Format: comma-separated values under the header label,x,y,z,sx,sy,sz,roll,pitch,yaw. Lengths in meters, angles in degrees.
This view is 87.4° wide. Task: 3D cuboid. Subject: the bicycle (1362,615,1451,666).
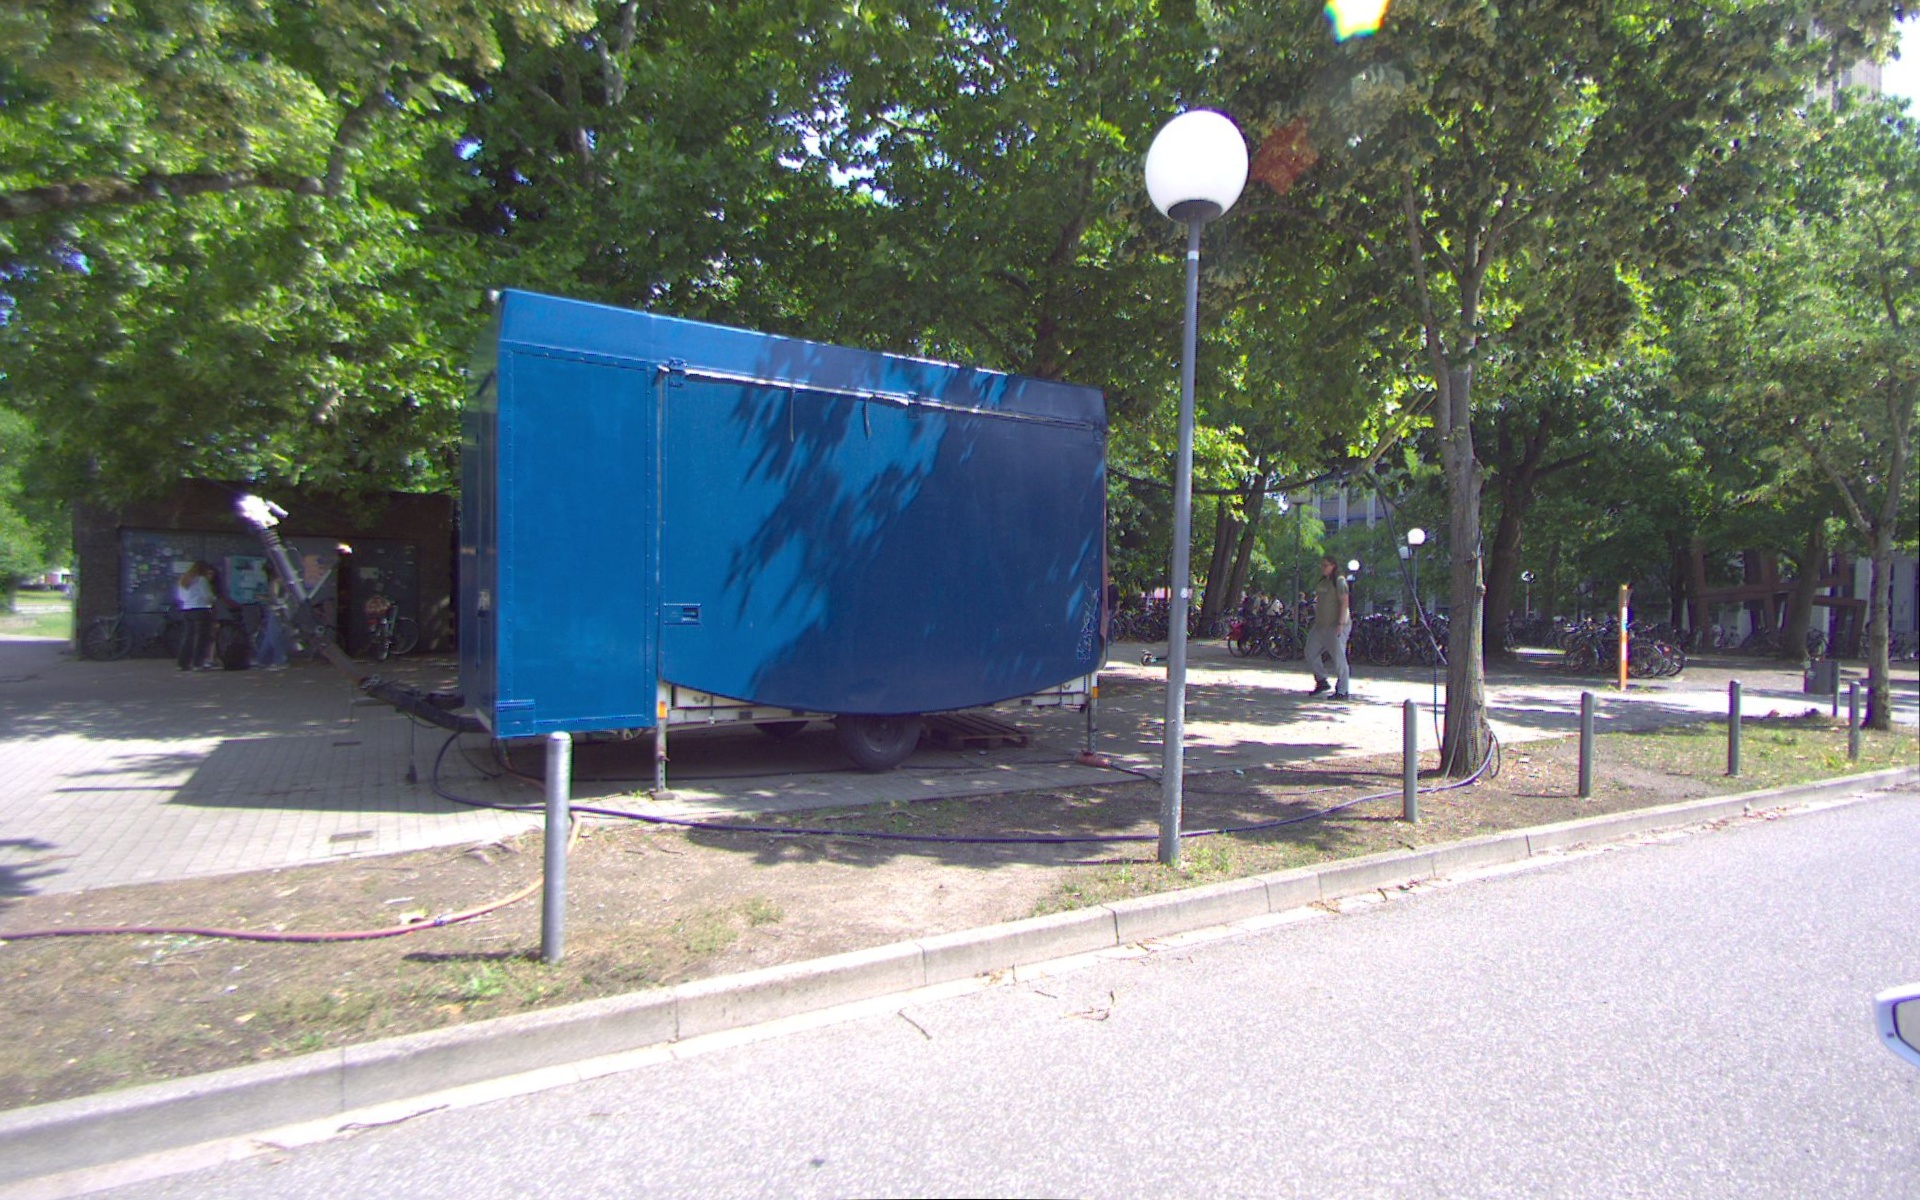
label,x,y,z,sx,sy,sz,roll,pitch,yaw
bicycle,10.654,0.949,23.994,1.832,1.104,0.545,2,1,39

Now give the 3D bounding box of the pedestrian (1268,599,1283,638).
label,x,y,z,sx,sy,sz,roll,pitch,yaw
pedestrian,13.354,0.791,42.506,0.453,1.636,0.350,2,1,-9

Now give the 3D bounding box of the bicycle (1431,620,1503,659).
label,x,y,z,sx,sy,sz,roll,pitch,yaw
bicycle,16.589,1.293,32.902,2.021,1.148,0.639,2,2,24

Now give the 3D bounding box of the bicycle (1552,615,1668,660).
label,x,y,z,sx,sy,sz,roll,pitch,yaw
bicycle,20.195,1.146,31.271,2.850,1.237,0.883,2,1,17

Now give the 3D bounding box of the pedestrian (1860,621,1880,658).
label,x,y,z,sx,sy,sz,roll,pitch,yaw
pedestrian,41.880,1.804,46.210,0.626,1.683,0.691,2,1,42

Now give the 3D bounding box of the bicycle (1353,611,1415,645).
label,x,y,z,sx,sy,sz,roll,pitch,yaw
bicycle,14.887,0.976,35.292,1.932,1.104,0.546,2,1,31

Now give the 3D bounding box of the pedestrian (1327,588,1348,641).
label,x,y,z,sx,sy,sz,roll,pitch,yaw
pedestrian,14.216,0.544,37.842,0.635,1.960,0.696,2,1,24

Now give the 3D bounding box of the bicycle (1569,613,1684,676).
label,x,y,z,sx,sy,sz,roll,pitch,yaw
bicycle,14.918,0.974,22.511,2.030,1.251,0.804,3,1,42

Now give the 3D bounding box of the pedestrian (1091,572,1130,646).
label,x,y,z,sx,sy,sz,roll,pitch,yaw
pedestrian,3.867,0.228,25.859,0.796,1.873,0.527,1,1,-31

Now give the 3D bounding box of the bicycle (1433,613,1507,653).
label,x,y,z,sx,sy,sz,roll,pitch,yaw
bicycle,16.141,1.036,31.832,2.021,1.173,0.639,2,1,24

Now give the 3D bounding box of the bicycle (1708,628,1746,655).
label,x,y,z,sx,sy,sz,roll,pitch,yaw
bicycle,32.304,1.748,42.299,1.950,1.101,0.549,2,2,-31

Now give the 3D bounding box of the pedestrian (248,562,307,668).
label,x,y,z,sx,sy,sz,roll,pitch,yaw
pedestrian,-11.146,0.233,16.413,0.665,1.673,0.503,2,2,20

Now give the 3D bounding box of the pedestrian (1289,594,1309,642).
label,x,y,z,sx,sy,sz,roll,pitch,yaw
pedestrian,12.193,0.627,36.137,0.545,1.693,0.703,2,1,24

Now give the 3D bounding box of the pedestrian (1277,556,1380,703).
label,x,y,z,sx,sy,sz,roll,pitch,yaw
pedestrian,5.167,0.392,14.118,0.879,1.981,0.916,2,2,-21

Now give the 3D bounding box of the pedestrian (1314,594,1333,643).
label,x,y,z,sx,sy,sz,roll,pitch,yaw
pedestrian,12.982,0.656,35.889,0.545,1.693,0.693,2,1,24

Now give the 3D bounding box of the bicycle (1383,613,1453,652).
label,x,y,z,sx,sy,sz,roll,pitch,yaw
bicycle,14.285,1.002,31.341,1.932,1.104,0.546,2,1,31

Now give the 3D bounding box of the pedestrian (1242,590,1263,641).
label,x,y,z,sx,sy,sz,roll,pitch,yaw
pedestrian,9.989,0.527,34.304,0.567,1.693,0.630,2,1,24

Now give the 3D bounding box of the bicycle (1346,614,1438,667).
label,x,y,z,sx,sy,sz,roll,pitch,yaw
bicycle,9.935,0.918,23.128,1.832,1.104,0.545,2,1,39

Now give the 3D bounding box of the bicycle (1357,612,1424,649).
label,x,y,z,sx,sy,sz,roll,pitch,yaw
bicycle,14.213,0.987,33.189,1.932,1.104,0.546,2,1,31

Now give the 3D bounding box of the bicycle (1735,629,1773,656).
label,x,y,z,sx,sy,sz,roll,pitch,yaw
bicycle,32.851,1.757,41.543,1.950,1.101,0.549,2,2,-31

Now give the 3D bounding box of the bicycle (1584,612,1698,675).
label,x,y,z,sx,sy,sz,roll,pitch,yaw
bicycle,15.614,0.974,23.053,2.030,1.251,0.804,4,2,42

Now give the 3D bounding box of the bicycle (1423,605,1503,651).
label,x,y,z,sx,sy,sz,roll,pitch,yaw
bicycle,14.559,0.798,29.121,2.021,1.251,0.639,2,1,24

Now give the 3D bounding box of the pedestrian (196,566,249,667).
label,x,y,z,sx,sy,sz,roll,pitch,yaw
pedestrian,-12.014,0.260,16.367,0.594,1.615,0.413,2,2,17

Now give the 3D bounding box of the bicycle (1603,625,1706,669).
label,x,y,z,sx,sy,sz,roll,pitch,yaw
bicycle,18.065,1.203,26.195,2.115,1.022,0.677,2,1,29

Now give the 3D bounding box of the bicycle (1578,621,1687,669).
label,x,y,z,sx,sy,sz,roll,pitch,yaw
bicycle,16.263,1.073,24.347,2.115,1.022,0.677,2,1,30

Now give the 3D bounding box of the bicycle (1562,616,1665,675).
label,x,y,z,sx,sy,sz,roll,pitch,yaw
bicycle,13.856,0.950,21.338,1.753,1.147,0.456,2,1,42

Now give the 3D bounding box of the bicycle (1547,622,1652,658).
label,x,y,z,sx,sy,sz,roll,pitch,yaw
bicycle,20.510,1.266,32.295,2.679,1.016,0.883,2,1,17

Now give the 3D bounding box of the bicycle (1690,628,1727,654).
label,x,y,z,sx,sy,sz,roll,pitch,yaw
bicycle,32.097,1.758,43.088,1.950,1.101,0.549,2,2,-31

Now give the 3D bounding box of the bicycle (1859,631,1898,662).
label,x,y,z,sx,sy,sz,roll,pitch,yaw
bicycle,34.855,1.770,38.108,1.950,1.101,0.549,2,2,-31

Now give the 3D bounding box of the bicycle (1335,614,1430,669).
label,x,y,z,sx,sy,sz,roll,pitch,yaw
bicycle,9.303,0.896,22.160,1.832,1.104,0.545,2,1,39

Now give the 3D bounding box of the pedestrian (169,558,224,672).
label,x,y,z,sx,sy,sz,roll,pitch,yaw
pedestrian,-11.897,0.222,15.651,0.520,1.734,0.448,2,2,15

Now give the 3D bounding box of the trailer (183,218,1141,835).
label,x,y,z,sx,sy,sz,roll,pitch,yaw
trailer,-1.881,-0.322,7.778,6.195,3.067,2.682,1,1,-32

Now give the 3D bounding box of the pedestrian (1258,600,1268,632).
label,x,y,z,sx,sy,sz,roll,pitch,yaw
pedestrian,16.640,0.879,55.169,0.405,1.736,0.544,2,1,28

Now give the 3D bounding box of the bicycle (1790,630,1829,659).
label,x,y,z,sx,sy,sz,roll,pitch,yaw
bicycle,33.698,1.756,39.855,1.950,1.101,0.549,2,2,-31

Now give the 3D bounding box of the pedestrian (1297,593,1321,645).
label,x,y,z,sx,sy,sz,roll,pitch,yaw
pedestrian,11.618,0.610,33.437,0.620,1.693,0.730,2,1,24

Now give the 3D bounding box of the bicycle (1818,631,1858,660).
label,x,y,z,sx,sy,sz,roll,pitch,yaw
bicycle,34.308,1.771,39.244,1.950,1.101,0.549,2,2,-31

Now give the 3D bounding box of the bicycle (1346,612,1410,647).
label,x,y,z,sx,sy,sz,roll,pitch,yaw
bicycle,14.249,0.989,34.257,1.932,1.104,0.546,2,1,31

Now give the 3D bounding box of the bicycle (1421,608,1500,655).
label,x,y,z,sx,sy,sz,roll,pitch,yaw
bicycle,14.804,0.919,29.751,2.021,1.251,0.639,3,2,24

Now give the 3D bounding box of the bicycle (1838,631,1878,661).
label,x,y,z,sx,sy,sz,roll,pitch,yaw
bicycle,34.528,1.766,38.617,1.950,1.101,0.549,2,2,-31

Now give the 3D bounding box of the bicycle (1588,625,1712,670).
label,x,y,z,sx,sy,sz,roll,pitch,yaw
bicycle,19.378,1.313,28.286,2.696,1.101,0.883,2,1,17

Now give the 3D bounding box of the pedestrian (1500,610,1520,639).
label,x,y,z,sx,sy,sz,roll,pitch,yaw
pedestrian,32.176,1.432,58.747,0.590,1.614,0.824,1,0,-29
